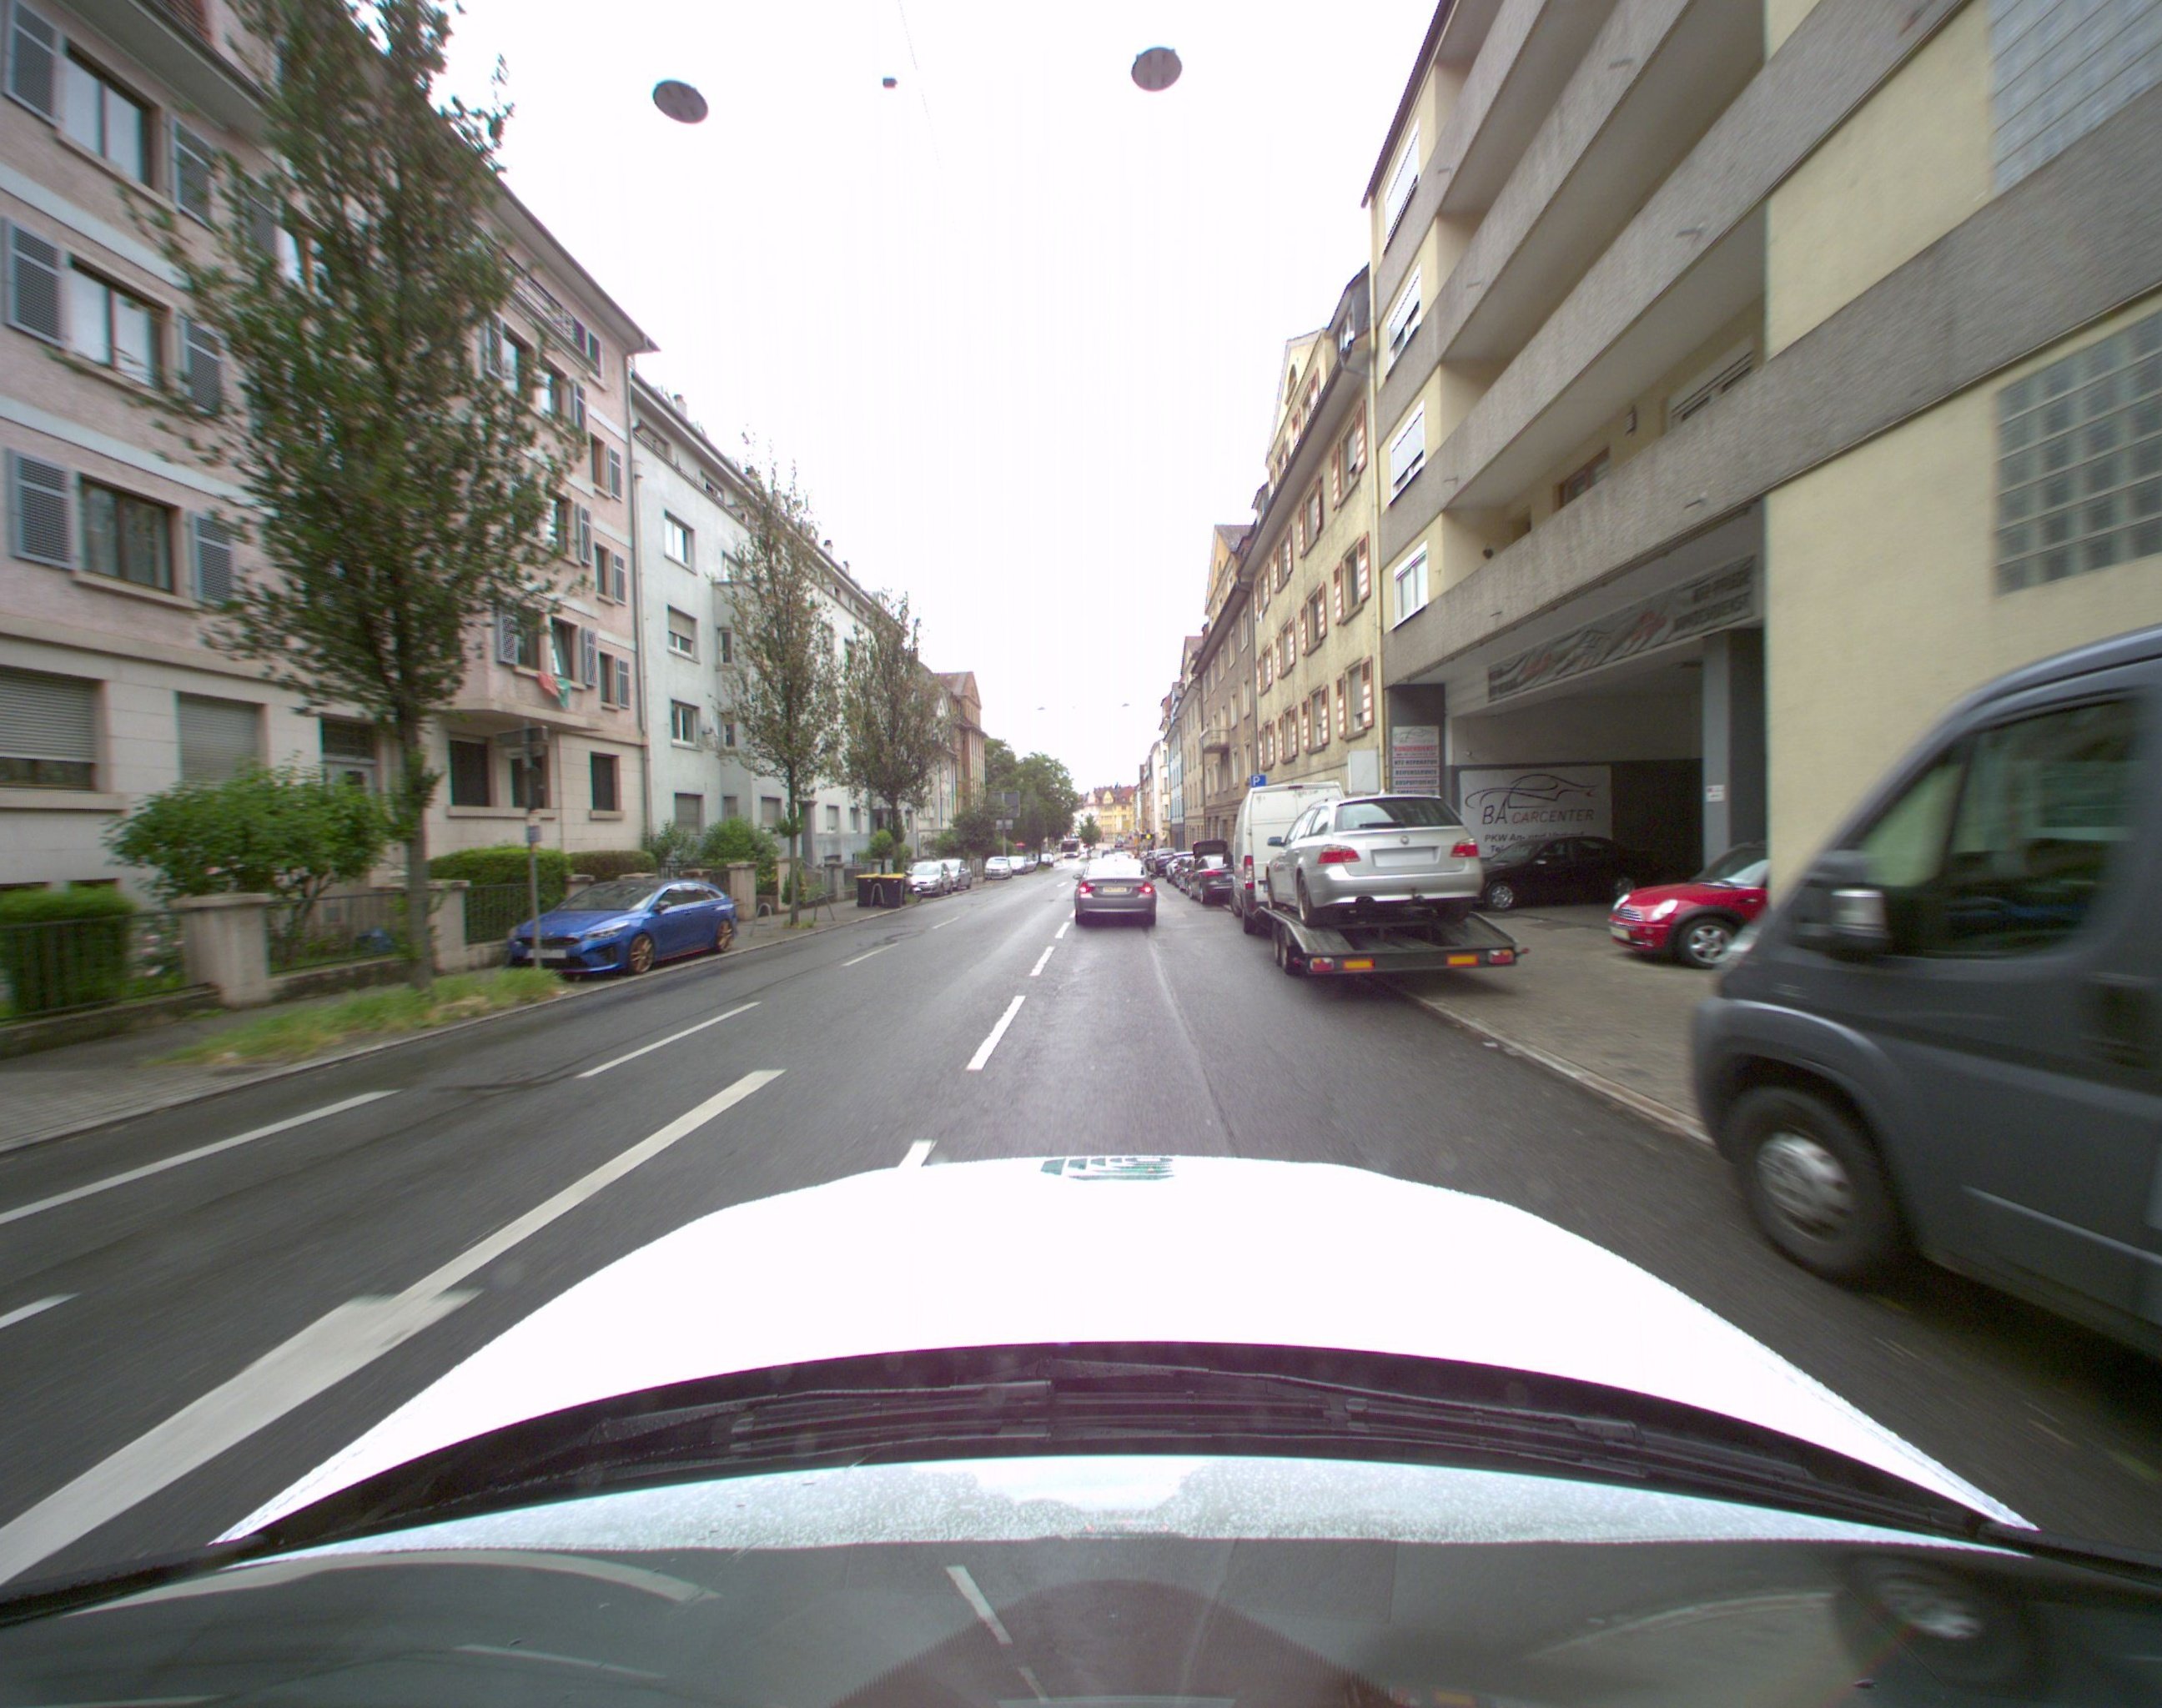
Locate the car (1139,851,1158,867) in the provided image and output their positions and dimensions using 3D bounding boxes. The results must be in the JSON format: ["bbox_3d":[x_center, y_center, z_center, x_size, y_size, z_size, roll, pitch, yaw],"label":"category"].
[{"bbox_3d":[6.557,0.489,79.142,1.577,1.429,3.596,-4,0,2],"label":"car"}]

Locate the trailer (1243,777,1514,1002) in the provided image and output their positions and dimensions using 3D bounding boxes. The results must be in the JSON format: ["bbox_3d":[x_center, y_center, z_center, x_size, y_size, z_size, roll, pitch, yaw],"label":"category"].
[{"bbox_3d":[3.471,0.315,10.684,1.984,2.152,5.079,-3,1,5],"label":"trailer"}]

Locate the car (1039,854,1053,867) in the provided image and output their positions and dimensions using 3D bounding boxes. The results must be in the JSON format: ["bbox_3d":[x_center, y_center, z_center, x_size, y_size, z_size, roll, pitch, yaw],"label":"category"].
[{"bbox_3d":[-4.098,0.800,95.457,1.627,1.454,3.837,-1,0,-2],"label":"car"}]

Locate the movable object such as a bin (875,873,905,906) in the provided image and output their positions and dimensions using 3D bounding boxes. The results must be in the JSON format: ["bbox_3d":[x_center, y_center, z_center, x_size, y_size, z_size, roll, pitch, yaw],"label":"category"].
[{"bbox_3d":[-6.302,1.175,26.949,0.821,1.058,0.484,2,-1,3],"label":"movable object such as a bin"}]

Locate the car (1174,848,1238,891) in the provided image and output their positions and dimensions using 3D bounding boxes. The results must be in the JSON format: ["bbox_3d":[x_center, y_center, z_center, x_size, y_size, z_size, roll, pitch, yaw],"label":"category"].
[{"bbox_3d":[4.692,0.577,31.117,1.771,1.479,4.588,-1,-1,1],"label":"car"}]

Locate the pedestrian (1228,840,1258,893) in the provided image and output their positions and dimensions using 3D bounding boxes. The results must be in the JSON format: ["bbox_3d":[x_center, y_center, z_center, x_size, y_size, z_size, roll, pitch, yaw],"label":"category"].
[{"bbox_3d":[5.647,0.440,28.410,0.704,1.787,0.691,-4,-2,36],"label":"pedestrian"}]

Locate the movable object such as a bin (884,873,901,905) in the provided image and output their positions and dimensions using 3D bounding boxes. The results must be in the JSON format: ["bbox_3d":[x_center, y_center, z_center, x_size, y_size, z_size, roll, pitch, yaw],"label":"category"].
[{"bbox_3d":[-6.423,1.179,27.744,0.470,1.058,0.482,2,-1,-7],"label":"movable object such as a bin"}]

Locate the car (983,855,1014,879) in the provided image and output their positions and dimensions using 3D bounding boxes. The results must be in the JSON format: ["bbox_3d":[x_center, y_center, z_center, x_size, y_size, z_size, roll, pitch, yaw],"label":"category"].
[{"bbox_3d":[-5.536,0.870,55.257,1.640,1.508,3.796,-1,-1,1],"label":"car"}]

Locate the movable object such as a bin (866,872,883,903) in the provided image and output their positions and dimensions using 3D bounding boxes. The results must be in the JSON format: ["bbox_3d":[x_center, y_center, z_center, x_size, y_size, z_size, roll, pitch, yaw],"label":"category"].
[{"bbox_3d":[-7.169,1.154,28.324,0.470,1.058,0.482,2,-1,-7],"label":"movable object such as a bin"}]

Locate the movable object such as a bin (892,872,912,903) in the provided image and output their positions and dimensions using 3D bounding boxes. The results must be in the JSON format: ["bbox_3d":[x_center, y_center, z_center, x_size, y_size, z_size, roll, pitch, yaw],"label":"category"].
[{"bbox_3d":[-6.279,1.163,28.568,0.522,1.058,0.484,2,-1,3],"label":"movable object such as a bin"}]

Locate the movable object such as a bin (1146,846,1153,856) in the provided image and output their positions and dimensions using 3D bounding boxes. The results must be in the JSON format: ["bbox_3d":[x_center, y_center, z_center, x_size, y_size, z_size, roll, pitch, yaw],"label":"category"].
[{"bbox_3d":[11.580,-0.511,137.886,1.119,1.702,1.433,-2,-1,-1],"label":"movable object such as a bin"}]

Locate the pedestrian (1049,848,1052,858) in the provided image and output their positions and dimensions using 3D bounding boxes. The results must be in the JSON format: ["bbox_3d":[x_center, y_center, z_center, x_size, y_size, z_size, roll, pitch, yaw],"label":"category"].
[{"bbox_3d":[-5.237,-0.233,138.917,0.542,1.709,0.465,2,-1,-5],"label":"pedestrian"}]

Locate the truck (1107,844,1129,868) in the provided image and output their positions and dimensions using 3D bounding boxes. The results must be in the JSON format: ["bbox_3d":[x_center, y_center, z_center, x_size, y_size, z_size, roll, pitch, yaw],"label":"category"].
[{"bbox_3d":[4.009,0.239,89.670,2.209,2.544,4.780,2,-1,1],"label":"truck"}]

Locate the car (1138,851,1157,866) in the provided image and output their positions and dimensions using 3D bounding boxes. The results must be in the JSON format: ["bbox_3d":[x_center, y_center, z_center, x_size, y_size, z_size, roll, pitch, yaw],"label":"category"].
[{"bbox_3d":[7.135,0.481,87.190,1.810,1.558,4.296,-3,0,3],"label":"car"}]

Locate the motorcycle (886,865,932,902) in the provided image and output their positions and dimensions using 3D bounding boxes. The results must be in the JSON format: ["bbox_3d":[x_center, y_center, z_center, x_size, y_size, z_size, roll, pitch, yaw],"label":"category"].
[{"bbox_3d":[-6.358,1.069,30.075,1.788,1.315,0.746,-1,0,43],"label":"motorcycle"}]

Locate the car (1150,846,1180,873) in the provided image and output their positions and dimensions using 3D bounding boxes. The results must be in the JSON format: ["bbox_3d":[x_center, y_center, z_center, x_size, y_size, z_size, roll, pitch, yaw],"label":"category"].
[{"bbox_3d":[6.091,0.354,59.260,1.784,1.817,4.082,-3,0,2],"label":"car"}]

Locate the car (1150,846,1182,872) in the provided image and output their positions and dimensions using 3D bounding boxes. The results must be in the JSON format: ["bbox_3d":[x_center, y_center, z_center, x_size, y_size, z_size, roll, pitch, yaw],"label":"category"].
[{"bbox_3d":[5.509,0.298,52.990,1.783,1.548,4.228,-3,0,3],"label":"car"}]

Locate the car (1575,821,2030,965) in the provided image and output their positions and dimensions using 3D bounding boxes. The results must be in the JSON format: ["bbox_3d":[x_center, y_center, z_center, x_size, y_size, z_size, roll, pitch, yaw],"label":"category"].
[{"bbox_3d":[8.457,0.441,9.821,3.970,1.391,1.559,-3,0,3],"label":"car"}]

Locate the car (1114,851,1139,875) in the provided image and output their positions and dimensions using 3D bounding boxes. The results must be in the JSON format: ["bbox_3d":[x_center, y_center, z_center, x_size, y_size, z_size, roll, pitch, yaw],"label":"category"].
[{"bbox_3d":[2.795,0.564,49.844,1.429,1.356,3.765,2,-1,4],"label":"car"}]

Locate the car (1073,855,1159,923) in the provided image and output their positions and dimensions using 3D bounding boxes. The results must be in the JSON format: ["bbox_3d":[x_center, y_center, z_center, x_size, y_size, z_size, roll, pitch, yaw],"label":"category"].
[{"bbox_3d":[0.766,0.734,18.113,1.749,1.362,3.166,0,-1,2],"label":"car"}]

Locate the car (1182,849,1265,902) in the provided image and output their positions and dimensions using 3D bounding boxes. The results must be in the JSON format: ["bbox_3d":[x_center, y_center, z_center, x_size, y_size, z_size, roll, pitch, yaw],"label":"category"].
[{"bbox_3d":[4.342,0.649,25.382,1.772,1.479,4.188,-1,-1,-1],"label":"car"}]

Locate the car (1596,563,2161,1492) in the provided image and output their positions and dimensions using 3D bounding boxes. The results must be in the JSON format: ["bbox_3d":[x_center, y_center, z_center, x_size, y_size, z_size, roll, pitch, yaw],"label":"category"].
[{"bbox_3d":[3.534,0.373,1.181,2.146,2.149,5.512,-2,0,2],"label":"car"}]

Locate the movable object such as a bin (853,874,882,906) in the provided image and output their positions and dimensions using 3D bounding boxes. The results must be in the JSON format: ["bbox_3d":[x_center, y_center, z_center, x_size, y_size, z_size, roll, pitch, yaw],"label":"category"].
[{"bbox_3d":[-7.161,1.201,27.358,0.821,1.058,0.484,1,-1,3],"label":"movable object such as a bin"}]

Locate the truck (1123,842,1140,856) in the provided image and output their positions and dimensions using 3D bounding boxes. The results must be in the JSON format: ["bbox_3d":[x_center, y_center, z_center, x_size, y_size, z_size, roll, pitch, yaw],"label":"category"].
[{"bbox_3d":[8.027,-0.748,130.826,2.210,2.116,4.649,3,0,-2],"label":"truck"}]

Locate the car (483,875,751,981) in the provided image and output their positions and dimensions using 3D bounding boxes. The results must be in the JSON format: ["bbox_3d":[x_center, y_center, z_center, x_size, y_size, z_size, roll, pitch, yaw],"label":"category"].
[{"bbox_3d":[-7.364,1.087,13.586,1.672,1.386,4.605,-1,-1,2],"label":"car"}]

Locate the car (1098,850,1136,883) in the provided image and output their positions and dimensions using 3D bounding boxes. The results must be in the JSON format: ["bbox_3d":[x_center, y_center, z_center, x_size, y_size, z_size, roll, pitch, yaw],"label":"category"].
[{"bbox_3d":[1.661,0.579,38.398,1.597,1.420,3.287,2,-1,0],"label":"car"}]

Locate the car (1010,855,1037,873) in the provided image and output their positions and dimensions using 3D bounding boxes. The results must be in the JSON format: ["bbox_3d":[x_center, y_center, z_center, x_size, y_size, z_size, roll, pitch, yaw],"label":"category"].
[{"bbox_3d":[-4.594,0.810,65.319,1.676,1.390,3.912,0,0,3],"label":"car"}]

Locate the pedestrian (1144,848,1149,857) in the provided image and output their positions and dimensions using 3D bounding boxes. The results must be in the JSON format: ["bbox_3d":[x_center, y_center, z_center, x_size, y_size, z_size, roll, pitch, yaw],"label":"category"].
[{"bbox_3d":[11.099,-0.257,138.854,0.746,1.661,0.756,2,-1,7],"label":"pedestrian"}]

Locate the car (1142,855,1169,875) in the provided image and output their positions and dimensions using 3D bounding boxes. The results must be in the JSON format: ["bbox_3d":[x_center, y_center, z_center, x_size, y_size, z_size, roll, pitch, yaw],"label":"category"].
[{"bbox_3d":[6.024,0.862,66.080,1.834,1.409,4.388,-3,0,1],"label":"car"}]

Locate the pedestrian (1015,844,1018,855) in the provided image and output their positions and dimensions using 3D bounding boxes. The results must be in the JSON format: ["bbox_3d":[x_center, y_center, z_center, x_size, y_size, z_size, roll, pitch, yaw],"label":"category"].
[{"bbox_3d":[-10.463,-0.765,132.457,0.464,1.790,0.543,2,-1,-5],"label":"pedestrian"}]

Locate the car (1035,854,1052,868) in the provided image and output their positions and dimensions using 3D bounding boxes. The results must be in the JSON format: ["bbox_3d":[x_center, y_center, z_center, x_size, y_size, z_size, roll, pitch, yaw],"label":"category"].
[{"bbox_3d":[-4.214,0.797,90.778,1.648,1.454,3.942,-1,0,0],"label":"car"}]

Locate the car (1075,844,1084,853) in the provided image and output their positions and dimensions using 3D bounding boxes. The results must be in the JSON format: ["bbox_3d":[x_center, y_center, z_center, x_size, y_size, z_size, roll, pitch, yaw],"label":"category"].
[{"bbox_3d":[-0.341,-1.223,180.241,1.986,2.014,4.000,2,-1,1],"label":"car"}]

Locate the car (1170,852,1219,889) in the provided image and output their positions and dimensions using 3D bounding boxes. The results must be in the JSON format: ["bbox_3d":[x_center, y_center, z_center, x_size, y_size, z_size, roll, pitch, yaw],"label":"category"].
[{"bbox_3d":[4.967,0.695,36.005,1.626,1.478,3.735,2,0,0],"label":"car"}]

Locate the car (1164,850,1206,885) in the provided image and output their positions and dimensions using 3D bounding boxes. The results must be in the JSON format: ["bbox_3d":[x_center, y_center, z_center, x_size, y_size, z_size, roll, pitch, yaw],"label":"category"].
[{"bbox_3d":[5.214,0.673,41.325,1.626,1.638,4.195,2,0,1],"label":"car"}]

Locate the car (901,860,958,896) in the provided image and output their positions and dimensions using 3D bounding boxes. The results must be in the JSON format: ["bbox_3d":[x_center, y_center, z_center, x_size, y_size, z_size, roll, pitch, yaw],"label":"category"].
[{"bbox_3d":[-6.397,0.986,34.689,1.595,1.396,3.888,-1,-1,1],"label":"car"}]

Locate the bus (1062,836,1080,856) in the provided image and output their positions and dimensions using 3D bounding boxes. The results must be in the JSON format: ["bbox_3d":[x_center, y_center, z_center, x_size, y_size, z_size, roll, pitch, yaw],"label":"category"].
[{"bbox_3d":[-1.711,-1.259,144.405,2.671,3.201,11.957,2,-1,1],"label":"bus"}]

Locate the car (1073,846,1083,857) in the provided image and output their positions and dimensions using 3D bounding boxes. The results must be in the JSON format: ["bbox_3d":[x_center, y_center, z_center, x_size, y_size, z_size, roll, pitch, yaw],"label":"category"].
[{"bbox_3d":[-0.589,-0.446,165.872,1.986,2.014,4.000,2,-1,1],"label":"car"}]

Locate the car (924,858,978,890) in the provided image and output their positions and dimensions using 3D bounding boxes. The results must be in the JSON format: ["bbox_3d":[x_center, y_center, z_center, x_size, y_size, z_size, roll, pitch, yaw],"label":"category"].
[{"bbox_3d":[-6.280,0.938,39.710,1.593,1.451,3.893,-1,-1,6],"label":"car"}]

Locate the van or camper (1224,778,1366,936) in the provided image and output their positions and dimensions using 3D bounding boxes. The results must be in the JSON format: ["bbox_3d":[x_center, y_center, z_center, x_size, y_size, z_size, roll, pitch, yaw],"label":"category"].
[{"bbox_3d":[4.298,0.042,17.434,2.172,2.699,6.435,-2,0,8],"label":"van or camper"}]

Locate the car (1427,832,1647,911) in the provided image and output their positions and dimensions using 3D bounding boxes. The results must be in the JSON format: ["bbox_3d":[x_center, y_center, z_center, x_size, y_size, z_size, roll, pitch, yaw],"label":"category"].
[{"bbox_3d":[9.615,0.318,17.376,3.643,1.391,1.896,-3,1,-3],"label":"car"}]
